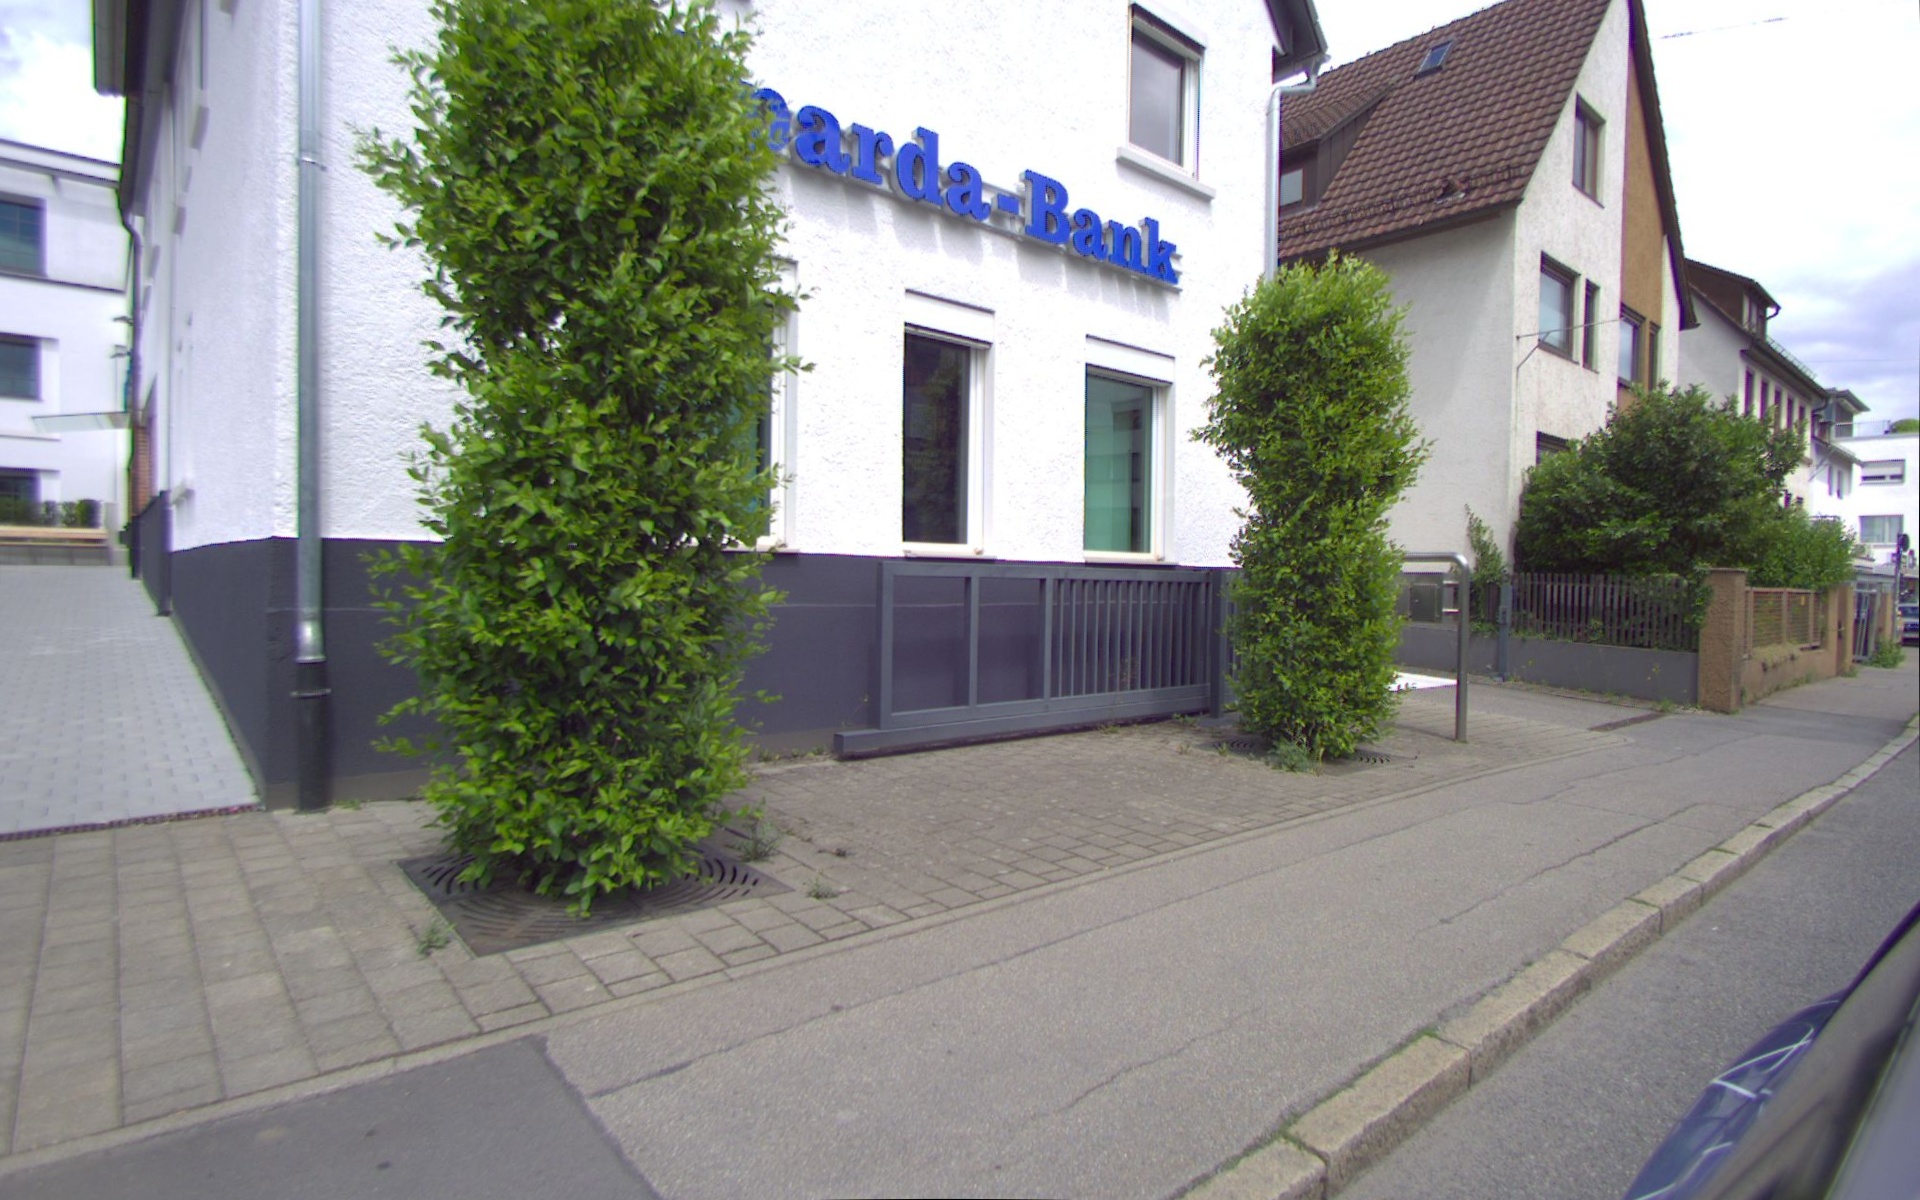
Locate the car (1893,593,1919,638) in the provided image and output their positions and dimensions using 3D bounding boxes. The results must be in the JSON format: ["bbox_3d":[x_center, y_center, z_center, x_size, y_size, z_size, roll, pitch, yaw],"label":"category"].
[{"bbox_3d":[33.134,0.526,34.472,3.932,1.438,1.654,0,2,-43],"label":"car"}]

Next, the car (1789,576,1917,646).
[{"bbox_3d":[23.158,0.240,26.200,4.030,1.639,1.997,0,2,-42],"label":"car"}]

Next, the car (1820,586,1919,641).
[{"bbox_3d":[26.576,0.363,29.475,3.934,1.429,1.922,0,2,-44],"label":"car"}]
